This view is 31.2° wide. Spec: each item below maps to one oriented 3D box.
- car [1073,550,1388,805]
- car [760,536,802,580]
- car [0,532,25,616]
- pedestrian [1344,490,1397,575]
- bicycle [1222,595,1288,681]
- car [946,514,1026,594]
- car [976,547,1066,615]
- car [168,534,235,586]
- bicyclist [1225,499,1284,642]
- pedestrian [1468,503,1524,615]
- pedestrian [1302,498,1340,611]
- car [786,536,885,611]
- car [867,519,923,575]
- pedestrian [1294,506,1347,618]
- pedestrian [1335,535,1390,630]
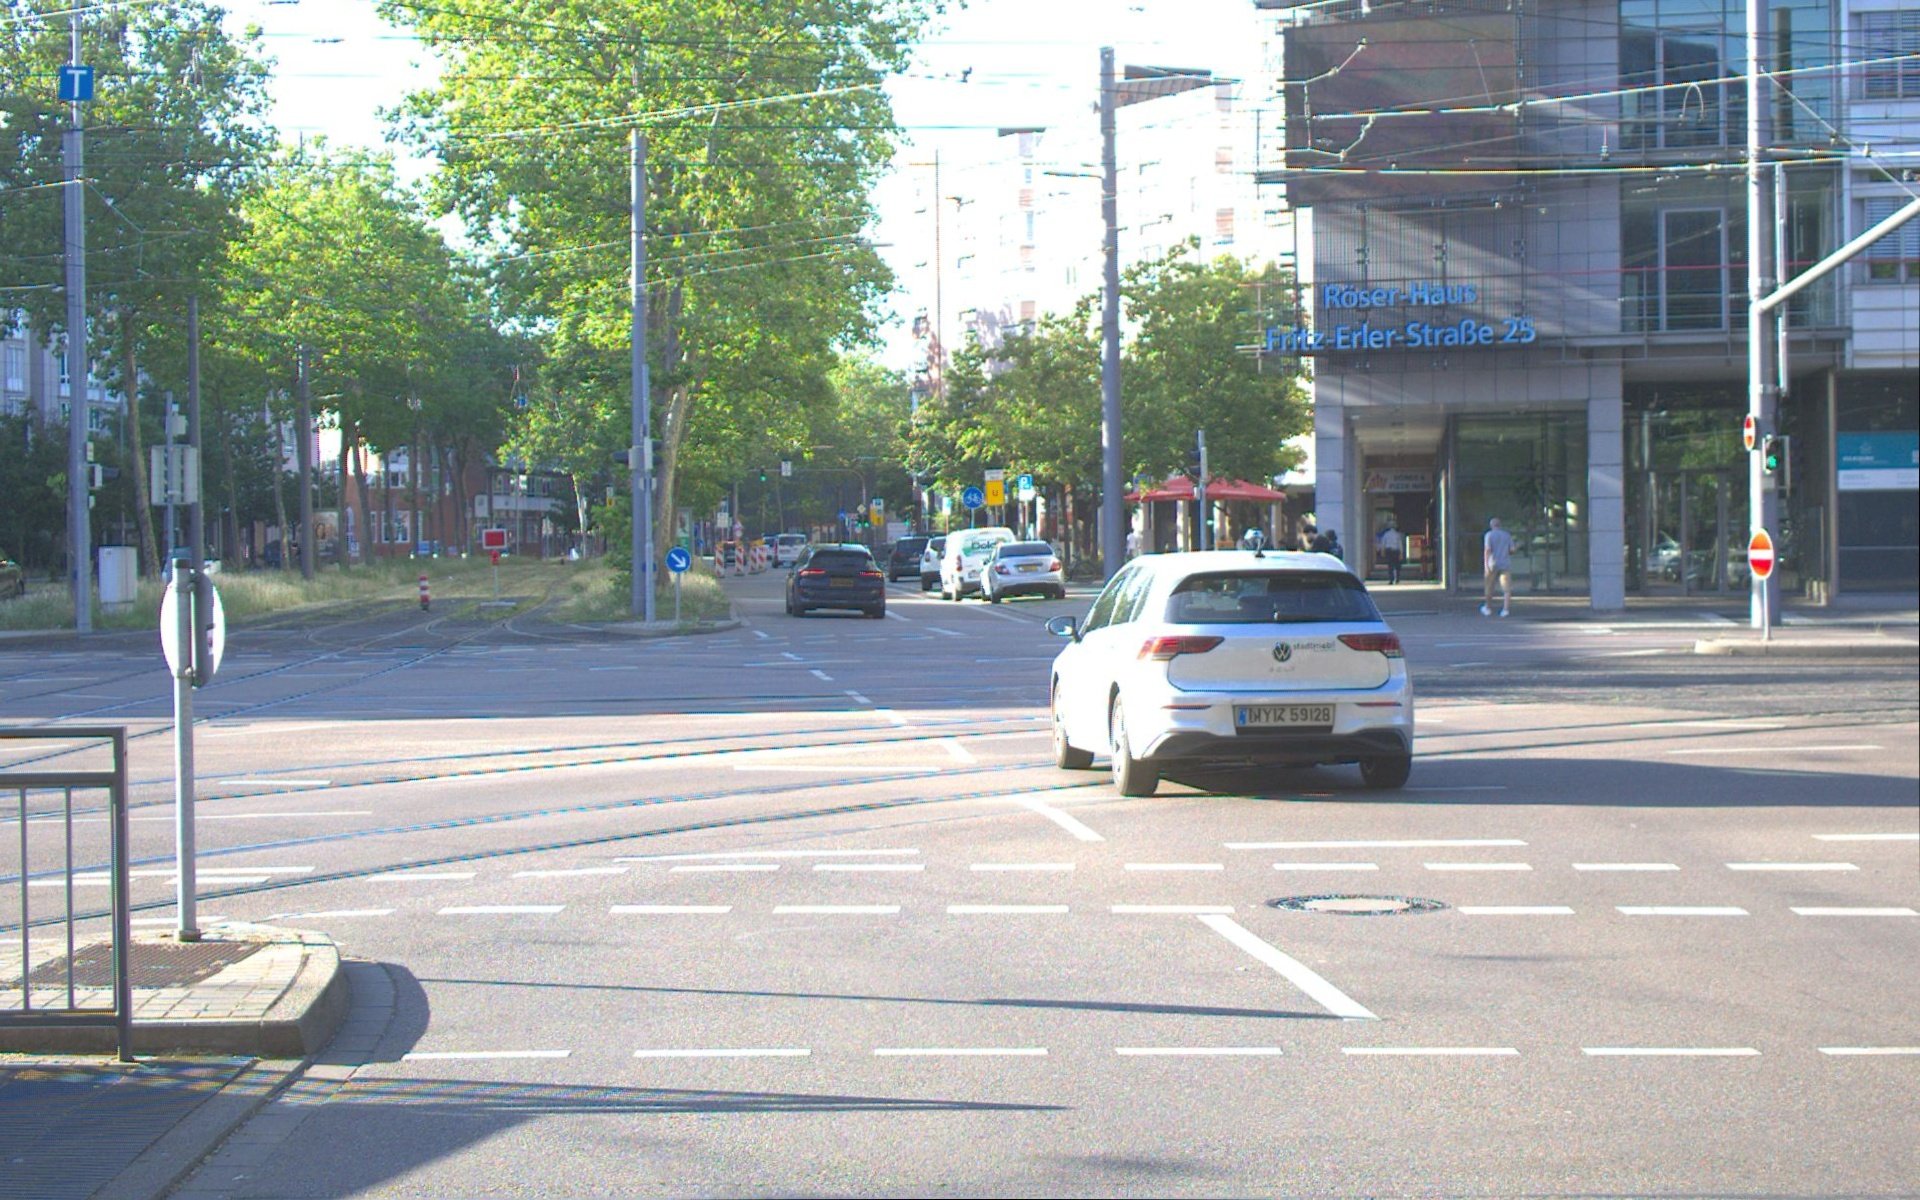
[{"bbox_3d":[1.608,0.414,21.597,1.748,1.413,4.000,0,1,1],"label":"car"},{"bbox_3d":[-9.710,-2.277,186.594,1.993,2.007,3.999,1,-5,1],"label":"car"},{"bbox_3d":[-21.589,-0.564,74.774,1.822,1.784,4.001,-1,1,-7],"label":"car"},{"bbox_3d":[10.640,-1.738,89.203,1.313,2.182,1.170,1,0,6],"label":"pedestrian"},{"bbox_3d":[3.020,0.375,35.314,0.490,0.785,1.862,0,2,-1],"label":"bicycle"},{"bbox_3d":[0.647,-1.201,89.625,1.993,2.007,4.000,1,1,-1],"label":"car"},{"bbox_3d":[1.436,-0.466,82.860,2.029,1.590,4.000,1,1,-1],"label":"car"},{"bbox_3d":[-24.356,-1.283,110.469,1.676,1.601,4.001,1,1,-6],"label":"car"},{"bbox_3d":[3.024,-0.312,35.355,0.486,1.434,0.615,2,2,-1],"label":"bicyclist"},{"bbox_3d":[9.731,-0.750,62.451,0.869,2.007,0.794,1,0,-1],"label":"pedestrian"},{"bbox_3d":[6.472,-0.821,61.695,0.586,2.007,0.620,1,0,0],"label":"pedestrian"},{"bbox_3d":[-2.455,-0.538,67.142,1.763,1.399,4.297,0,1,-4],"label":"car"},{"bbox_3d":[-2.384,-1.942,126.785,1.993,2.007,4.000,1,1,-1],"label":"car"},{"bbox_3d":[6.528,-0.692,62.336,0.849,2.007,0.708,1,0,-1],"label":"pedestrian"},{"bbox_3d":[7.334,-0.320,62.651,0.869,1.702,0.794,1,0,-1],"label":"pedestrian"}]
